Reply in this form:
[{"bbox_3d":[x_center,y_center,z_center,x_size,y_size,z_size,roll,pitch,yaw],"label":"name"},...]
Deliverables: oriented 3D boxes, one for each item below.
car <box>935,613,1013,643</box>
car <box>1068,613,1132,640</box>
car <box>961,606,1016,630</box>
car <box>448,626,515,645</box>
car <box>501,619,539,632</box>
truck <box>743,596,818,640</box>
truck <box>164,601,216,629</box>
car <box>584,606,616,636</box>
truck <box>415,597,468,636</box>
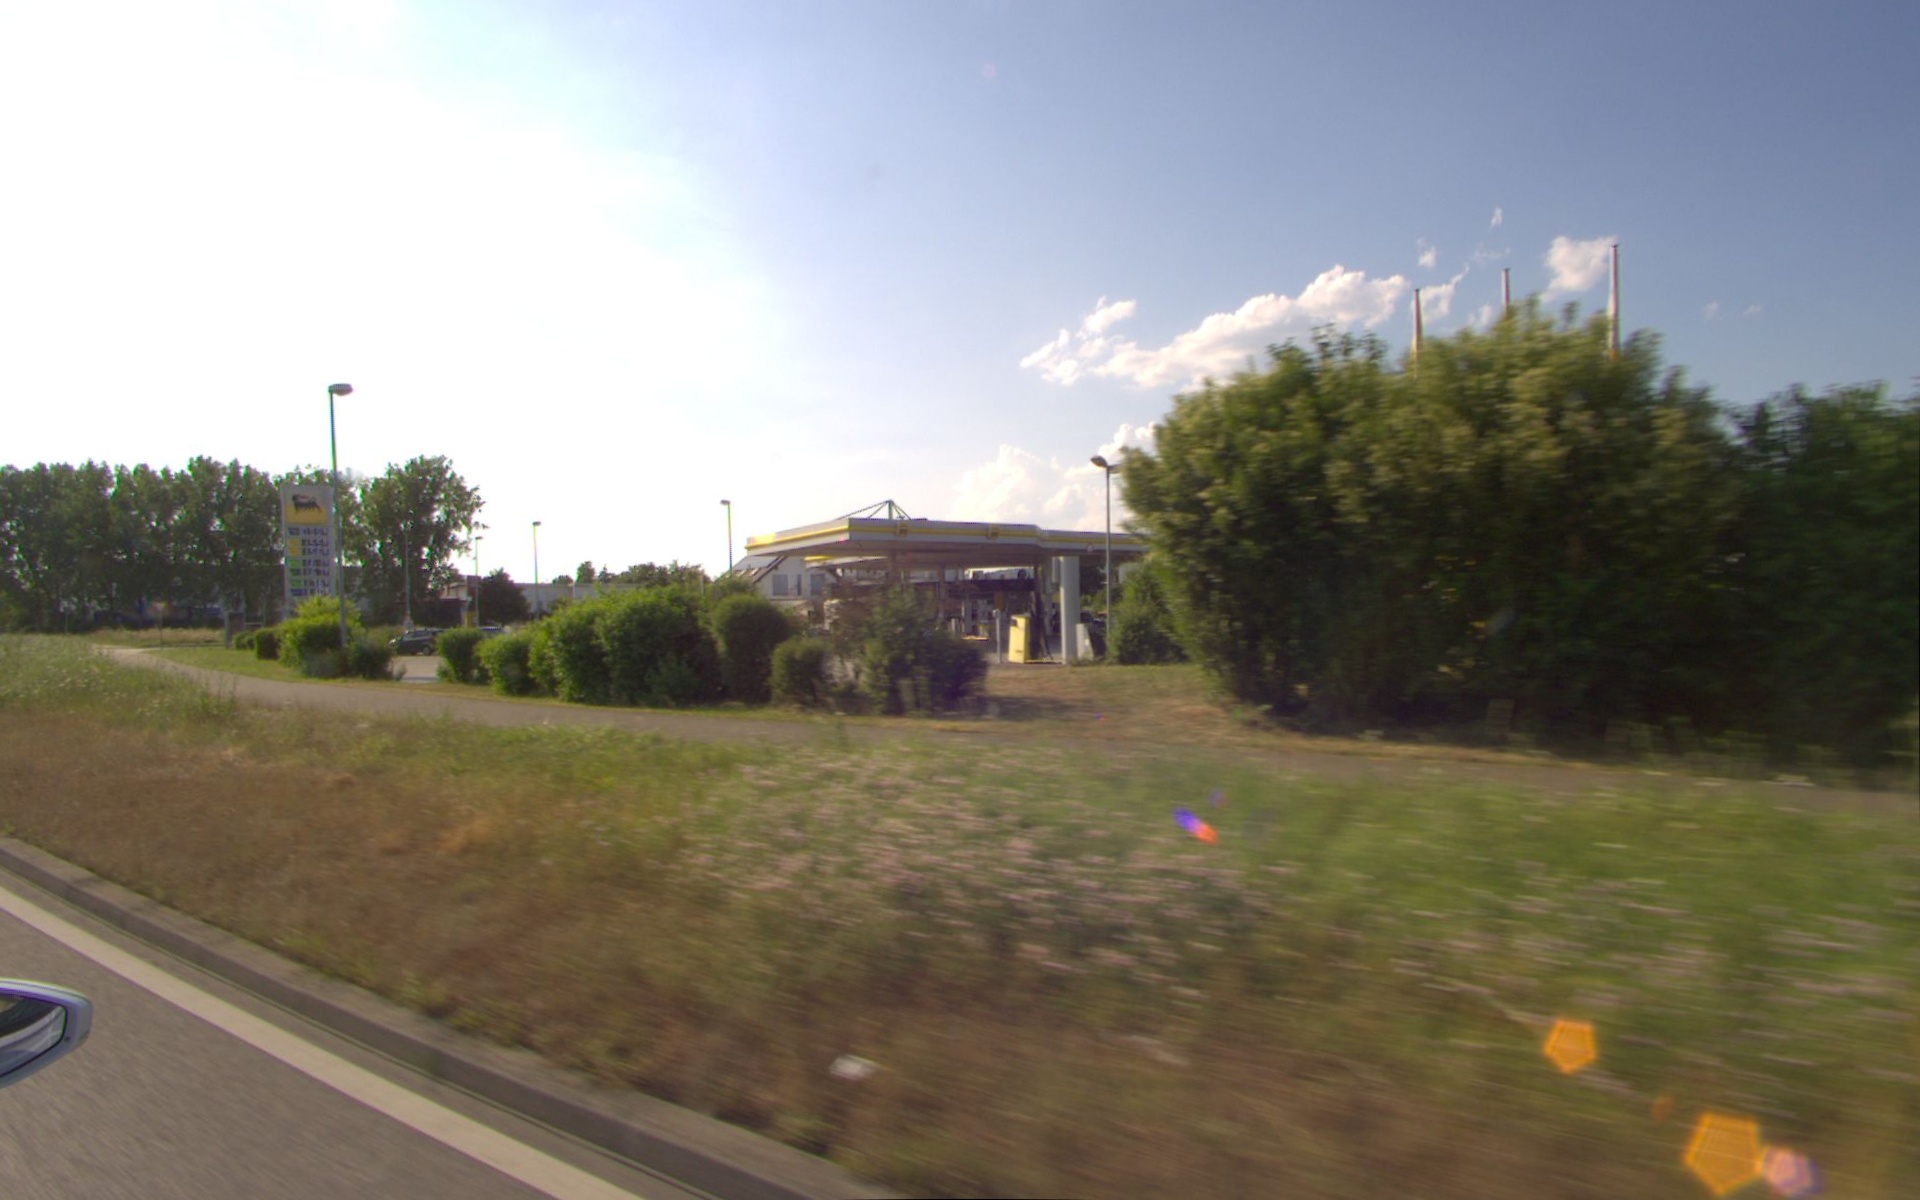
[{"bbox_3d":[0.812,1.677,58.923,4.264,1.557,1.803,2,-4,-14],"label":"car"},{"bbox_3d":[9.200,1.763,66.237,1.781,1.557,4.318,3,-5,-33],"label":"car"},{"bbox_3d":[2.078,1.340,73.580,3.823,1.740,1.756,-1,-1,11],"label":"car"},{"bbox_3d":[-32.014,2.377,67.034,3.843,1.216,1.602,-1,-4,12],"label":"car"},{"bbox_3d":[-52.518,3.032,119.401,4.439,1.395,2.133,-2,-3,34],"label":"car"},{"bbox_3d":[-16.022,1.716,90.086,2.721,3.734,7.992,-1,-3,24],"label":"truck"},{"bbox_3d":[-95.814,1.864,124.640,5.612,3.200,2.624,-2,-3,21],"label":"truck"},{"bbox_3d":[-32.626,1.926,90.973,2.196,2.550,6.812,0,-3,-15],"label":"car"},{"bbox_3d":[-55.668,1.818,107.536,5.029,3.964,2.247,-1,-2,20],"label":"truck"}]
